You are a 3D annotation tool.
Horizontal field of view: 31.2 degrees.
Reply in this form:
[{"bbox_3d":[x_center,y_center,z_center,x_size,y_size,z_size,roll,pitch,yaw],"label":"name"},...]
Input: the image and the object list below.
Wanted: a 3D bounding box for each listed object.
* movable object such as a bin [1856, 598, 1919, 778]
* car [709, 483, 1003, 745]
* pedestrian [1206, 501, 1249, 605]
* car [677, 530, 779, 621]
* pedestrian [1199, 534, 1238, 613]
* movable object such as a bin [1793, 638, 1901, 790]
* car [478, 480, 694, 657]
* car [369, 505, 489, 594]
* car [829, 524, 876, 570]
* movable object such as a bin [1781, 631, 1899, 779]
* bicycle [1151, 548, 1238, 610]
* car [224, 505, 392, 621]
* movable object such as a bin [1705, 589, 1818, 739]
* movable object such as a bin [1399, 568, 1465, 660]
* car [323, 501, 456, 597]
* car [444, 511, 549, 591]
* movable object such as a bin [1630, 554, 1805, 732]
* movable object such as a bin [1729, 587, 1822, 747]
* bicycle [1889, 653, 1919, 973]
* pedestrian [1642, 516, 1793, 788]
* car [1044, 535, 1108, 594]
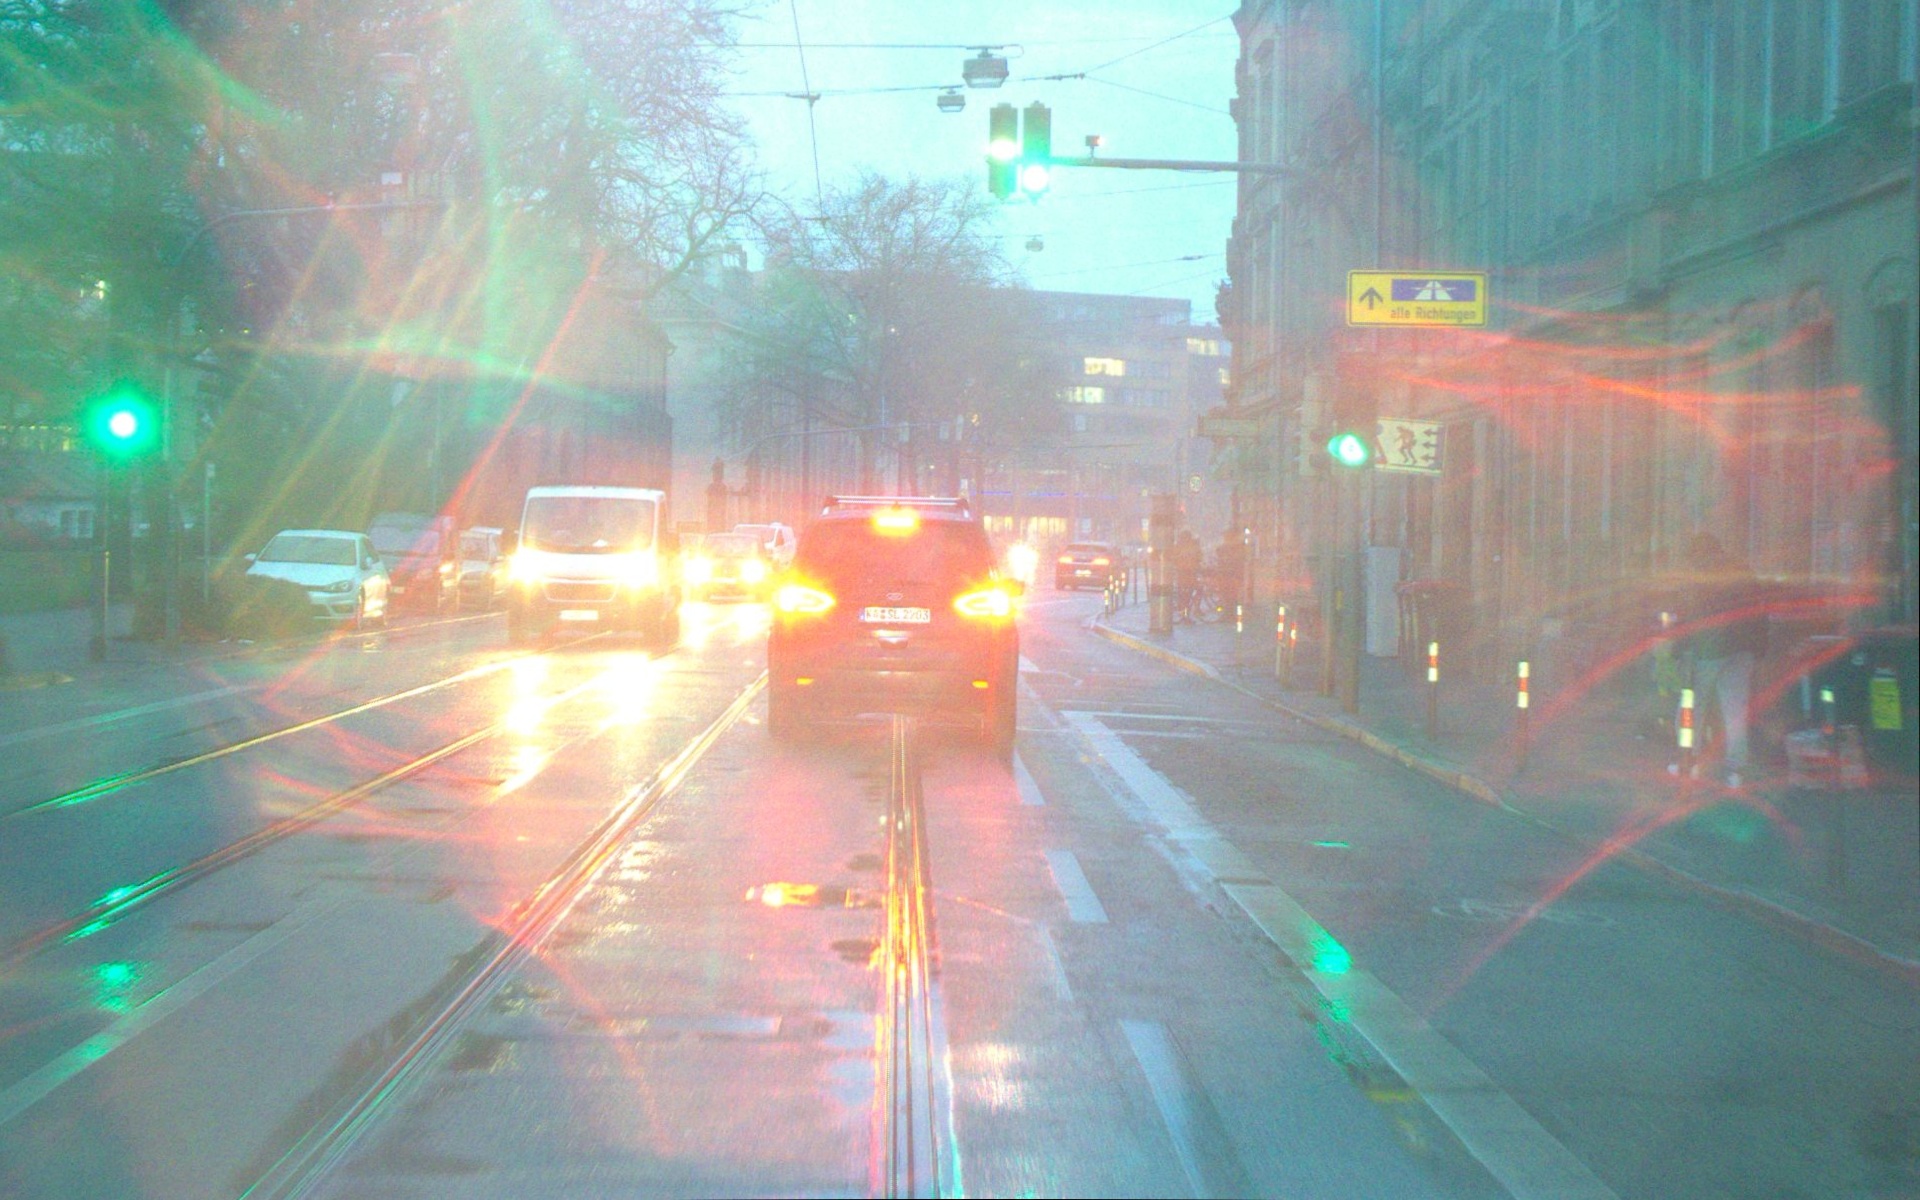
[{"bbox_3d":[5.923,0.532,21.152,0.611,1.077,0.491,0,1,-29],"label":"movable object such as a bin"},{"bbox_3d":[-0.714,0.064,26.475,1.993,1.835,4.000,1,1,2],"label":"car"},{"bbox_3d":[5.075,-0.895,65.339,0.715,1.946,0.657,1,1,0],"label":"pedestrian"},{"bbox_3d":[-5.353,-0.577,79.819,1.993,2.007,4.000,1,1,1],"label":"car"},{"bbox_3d":[5.836,-0.606,77.619,0.771,1.769,0.685,1,1,-1],"label":"pedestrian"},{"bbox_3d":[5.601,0.716,21.714,0.488,0.925,0.425,0,1,-27],"label":"movable object such as a bin"},{"bbox_3d":[-5.176,-0.461,48.371,2.446,2.339,5.845,0,1,0],"label":"car"},{"bbox_3d":[-10.246,-0.976,66.623,1.983,1.610,4.430,1,1,-5],"label":"car"},{"bbox_3d":[-4.767,-2.357,153.042,1.993,2.007,4.000,1,1,-1],"label":"car"},{"bbox_3d":[5.694,0.675,22.262,0.611,0.925,0.491,0,1,-2],"label":"movable object such as a bin"},{"bbox_3d":[4.430,-0.404,65.133,0.792,1.140,2.244,1,1,-20],"label":"bicycle"},{"bbox_3d":[-9.637,-0.560,51.121,1.983,1.610,4.430,1,1,-5],"label":"car"},{"bbox_3d":[5.741,0.449,24.620,0.765,1.035,0.599,1,1,14],"label":"movable object such as a bin"},{"bbox_3d":[5.551,0.158,40.493,0.640,1.051,0.744,1,1,-1],"label":"movable object such as a bin"},{"bbox_3d":[-10.170,-0.908,61.532,1.983,1.610,4.430,1,1,-5],"label":"car"},{"bbox_3d":[-9.833,-1.052,73.188,1.983,1.610,4.430,1,1,-5],"label":"car"},{"bbox_3d":[5.656,0.305,25.738,0.887,1.284,1.262,0,1,-8],"label":"movable object such as a bin"},{"bbox_3d":[5.693,0.458,23.980,0.611,1.078,0.599,1,1,14],"label":"movable object such as a bin"},{"bbox_3d":[3.856,0.799,11.814,0.684,1.152,2.188,1,1,-1],"label":"bicycle"},{"bbox_3d":[4.883,0.321,22.205,0.835,1.695,0.953,1,1,8],"label":"pedestrian"},{"bbox_3d":[3.739,-1.158,111.157,1.993,1.835,4.000,1,1,2],"label":"car"}]
